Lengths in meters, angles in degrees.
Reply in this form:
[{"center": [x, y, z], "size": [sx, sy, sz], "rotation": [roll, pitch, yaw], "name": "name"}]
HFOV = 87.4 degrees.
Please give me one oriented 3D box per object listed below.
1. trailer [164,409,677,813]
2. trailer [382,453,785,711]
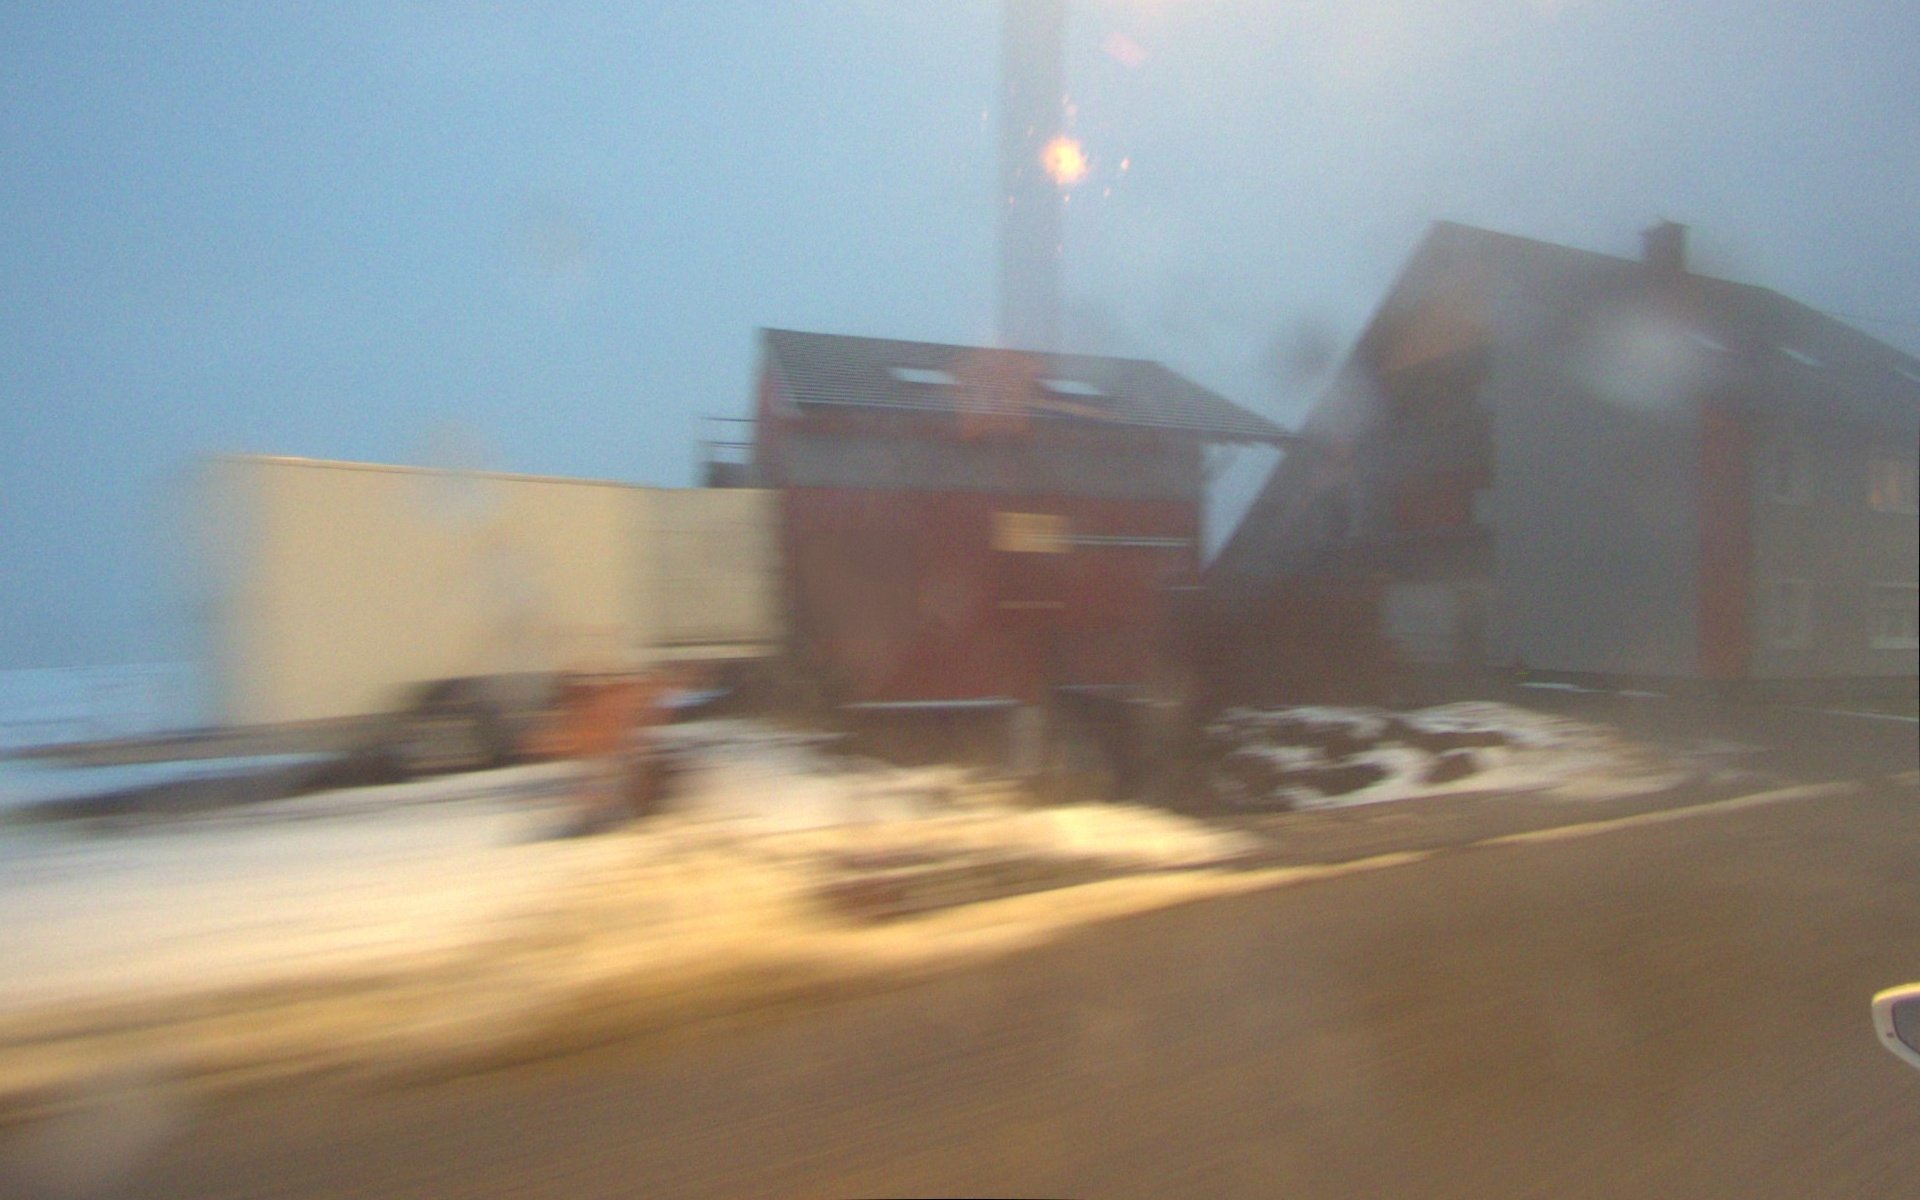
[{"center": [-4.329, 0.132, 8.418], "size": [1.670, 2.639, 3.427], "rotation": [-2, -3, 41], "name": "trailer"}, {"center": [-4.159, -0.137, 11.484], "size": [3.951, 2.522, 1.991], "rotation": [0, -2, -22], "name": "trailer"}]
